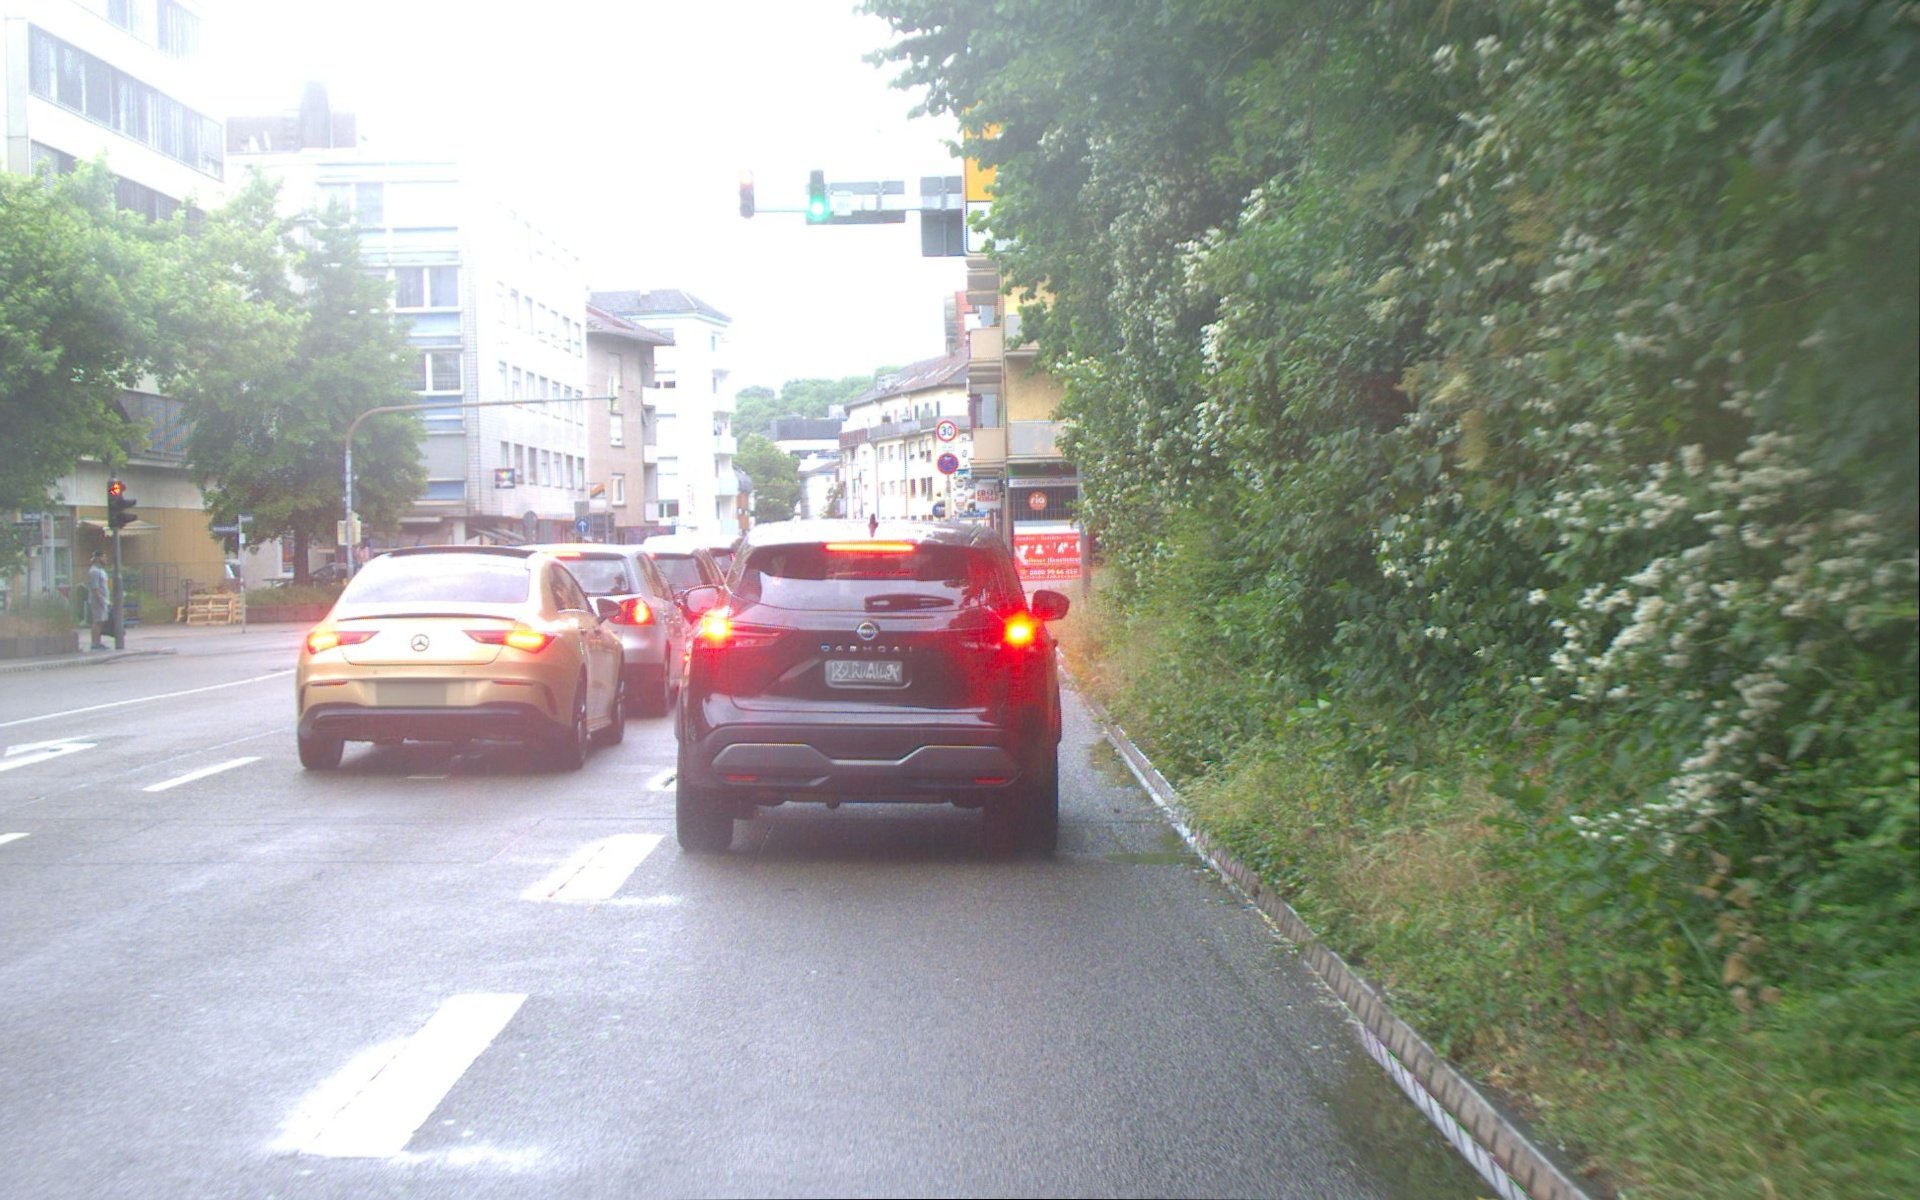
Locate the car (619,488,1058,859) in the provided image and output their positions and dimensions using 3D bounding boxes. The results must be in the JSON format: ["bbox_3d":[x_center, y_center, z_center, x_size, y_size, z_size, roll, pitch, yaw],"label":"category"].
[{"bbox_3d":[-0.597,0.298,17.556,1.959,1.647,4.000,-1,1,-1],"label":"car"}]

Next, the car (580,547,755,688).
[{"bbox_3d":[-3.109,0.147,37.147,1.613,1.415,3.967,-1,1,-1],"label":"car"}]

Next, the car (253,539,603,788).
[{"bbox_3d":[-3.505,0.341,23.189,2.066,1.459,4.587,-1,1,-7],"label":"car"}]

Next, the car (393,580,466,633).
[{"bbox_3d":[-15.934,0.181,103.415,1.672,1.473,3.608,-3,1,-2],"label":"car"}]

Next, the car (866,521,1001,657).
[{"bbox_3d":[-0.391,-0.199,54.133,1.993,2.007,4.000,-2,1,0],"label":"car"}]

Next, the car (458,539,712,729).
[{"bbox_3d":[-3.187,0.246,29.924,1.744,1.482,4.162,-2,1,-1],"label":"car"}]

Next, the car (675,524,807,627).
[{"bbox_3d":[-3.258,-0.393,51.804,1.767,1.439,4.000,-2,1,-1],"label":"car"}]

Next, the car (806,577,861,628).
[{"bbox_3d":[-5.321,0.085,145.355,1.993,2.007,4.000,-3,1,1],"label":"car"}]

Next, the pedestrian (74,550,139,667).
[{"bbox_3d":[-15.049,0.145,60.641,0.940,2.007,0.887,-3,1,-9],"label":"pedestrian"}]
